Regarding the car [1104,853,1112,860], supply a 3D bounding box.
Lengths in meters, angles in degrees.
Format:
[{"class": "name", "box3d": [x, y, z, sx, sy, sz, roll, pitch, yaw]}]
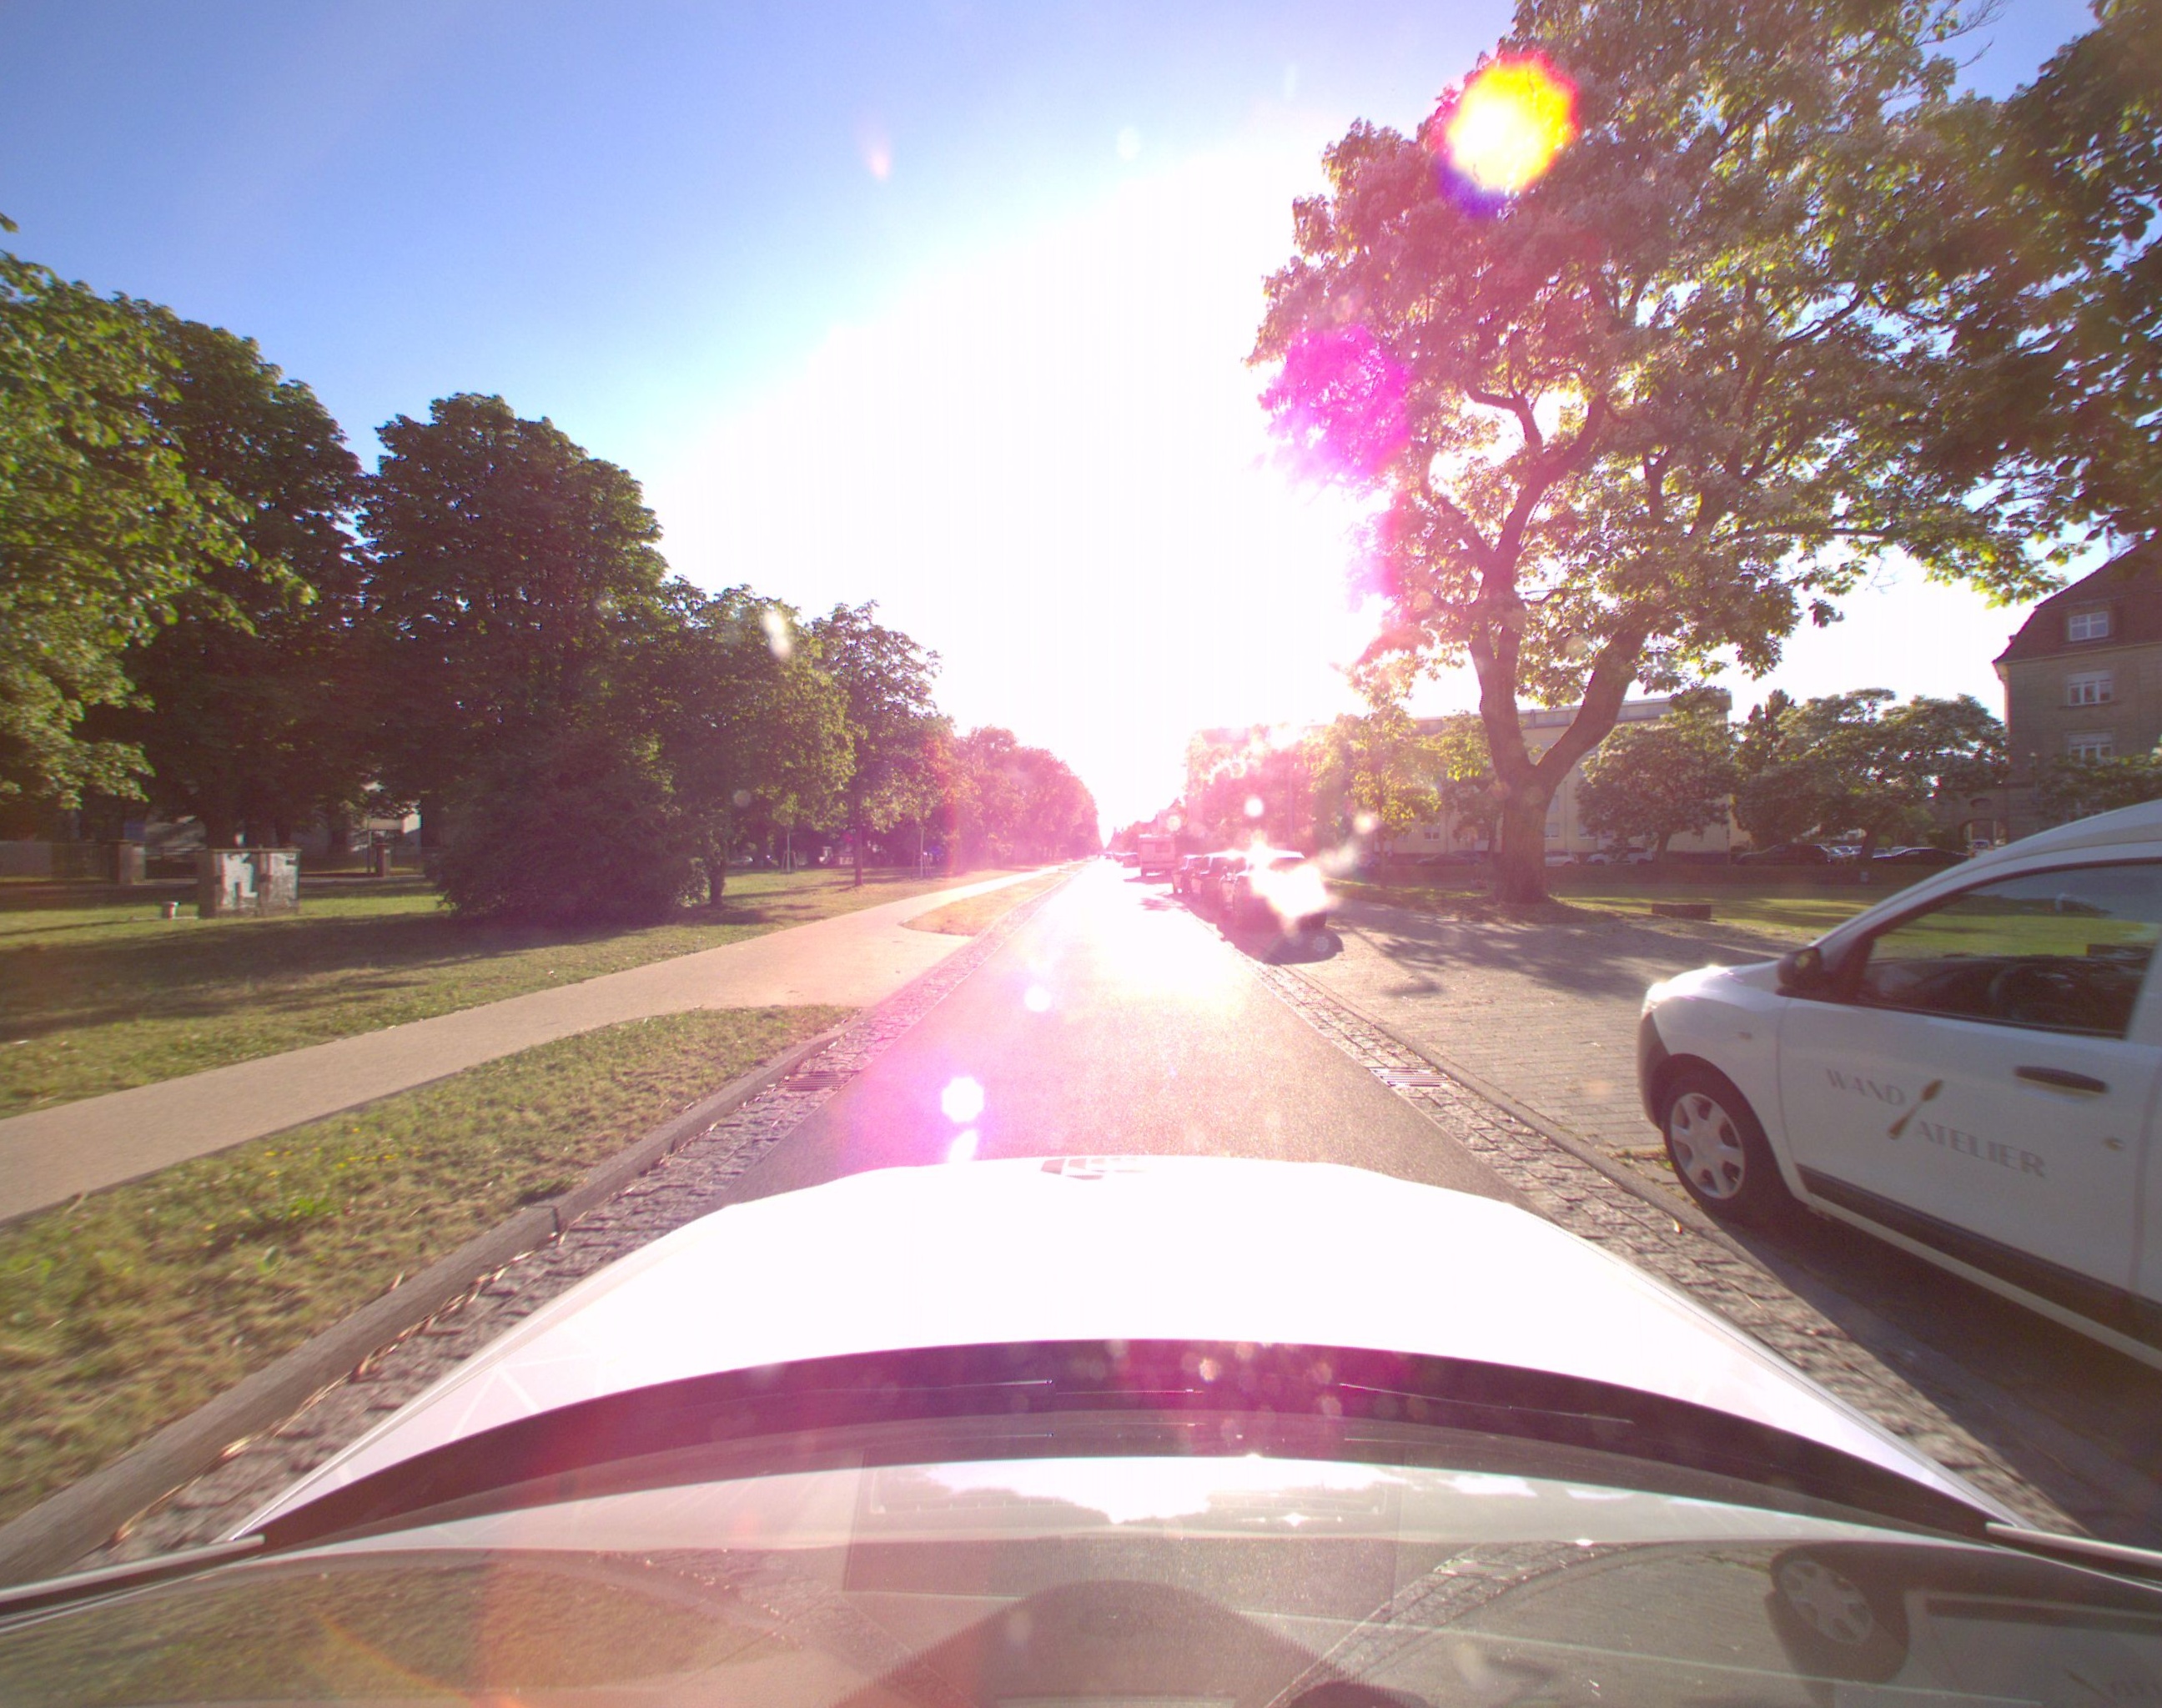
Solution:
[{"class": "car", "box3d": [6.564, 0.645, 195.446, 1.819, 1.669, 4.250, -1, 0, 1]}]

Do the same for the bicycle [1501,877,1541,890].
[{"class": "bicycle", "box3d": [23.025, 1.542, 42.694, 1.749, 0.615, 1.823, 0, 0, 26]}]

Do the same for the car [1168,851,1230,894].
[{"class": "car", "box3d": [4.338, 0.669, 30.499, 1.622, 1.464, 4.246, -1, 0, -1]}]

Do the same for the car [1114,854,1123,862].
[{"class": "car", "box3d": [7.463, 0.773, 161.723, 1.620, 1.410, 4.250, -1, 0, 1]}]

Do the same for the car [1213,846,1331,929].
[{"class": "car", "box3d": [3.983, 0.648, 17.663, 1.725, 1.551, 4.278, -1, 0, 3]}]

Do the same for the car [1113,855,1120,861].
[{"class": "car", "box3d": [8.720, 0.939, 197.782, 1.620, 1.410, 4.250, -1, 0, 1]}]

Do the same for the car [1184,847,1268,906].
[{"class": "car", "box3d": [4.147, 0.619, 23.916, 1.726, 1.551, 4.422, -1, 0, 1]}]

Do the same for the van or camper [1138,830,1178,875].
[{"class": "van or camper", "box3d": [5.156, -0.038, 55.115, 2.226, 2.904, 5.674, -1, -1, 1]}]

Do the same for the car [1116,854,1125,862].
[{"class": "car", "box3d": [7.225, 0.727, 150.172, 1.620, 1.410, 4.250, -1, 0, 1]}]

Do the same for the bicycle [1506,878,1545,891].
[{"class": "bicycle", "box3d": [23.917, 1.615, 43.835, 1.749, 0.615, 1.823, 0, 0, 26]}]

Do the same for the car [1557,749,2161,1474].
[{"class": "car", "box3d": [3.428, 0.608, 2.245, 1.672, 1.740, 4.515, -1, 0, 1]}]

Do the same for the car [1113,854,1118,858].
[{"class": "car", "box3d": [10.591, 0.639, 249.289, 1.620, 1.410, 4.250, -1, 0, 1]}]

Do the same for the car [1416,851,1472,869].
[{"class": "car", "box3d": [29.901, 0.503, 67.234, 4.158, 1.357, 1.702, -1, -1, 22]}]

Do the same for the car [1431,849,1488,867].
[{"class": "car", "box3d": [33.611, 0.361, 72.393, 4.473, 1.569, 1.890, -1, -1, 20]}]

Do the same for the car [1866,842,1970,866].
[{"class": "car", "box3d": [52.396, 0.032, 51.055, 1.889, 1.453, 4.319, -1, -1, -36]}]

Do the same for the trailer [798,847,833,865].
[{"class": "trailer", "box3d": [-38.199, 0.363, 117.562, 2.449, 2.489, 7.054, -1, 0, 3]}]

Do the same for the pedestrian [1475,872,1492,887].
[{"class": "pedestrian", "box3d": [23.474, 1.471, 47.498, 0.608, 0.812, 0.724, 0, 0, 3]}]

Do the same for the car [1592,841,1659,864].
[{"class": "car", "box3d": [44.252, -0.111, 66.222, 4.467, 1.746, 1.892, -1, -1, 36]}]

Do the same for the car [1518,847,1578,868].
[{"class": "car", "box3d": [36.562, 0.296, 63.835, 3.949, 1.552, 1.620, -1, -1, 29]}]

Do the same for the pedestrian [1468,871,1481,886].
[{"class": "pedestrian", "box3d": [22.512, 1.402, 46.576, 0.470, 0.812, 0.612, 0, 0, 3]}]

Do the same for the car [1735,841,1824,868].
[{"class": "car", "box3d": [47.650, 0.029, 55.605, 1.891, 1.746, 4.470, 0, -1, -45]}]

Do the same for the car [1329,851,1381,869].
[{"class": "car", "box3d": [23.279, 0.516, 69.258, 4.162, 1.463, 1.700, -1, -1, 17]}]

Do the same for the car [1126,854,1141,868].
[{"class": "car", "box3d": [6.174, 0.816, 96.509, 1.620, 1.669, 4.250, -1, 0, 1]}]

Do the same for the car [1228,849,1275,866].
[{"class": "car", "box3d": [16.033, 0.294, 76.873, 4.174, 1.530, 2.003, -1, 0, 5]}]

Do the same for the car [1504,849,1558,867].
[{"class": "car", "box3d": [38.491, 0.378, 69.631, 3.949, 1.453, 1.892, -1, -1, 30]}]

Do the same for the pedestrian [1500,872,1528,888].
[{"class": "pedestrian", "box3d": [24.156, 1.444, 45.468, 0.577, 0.812, 1.244, 0, 0, -43]}]
